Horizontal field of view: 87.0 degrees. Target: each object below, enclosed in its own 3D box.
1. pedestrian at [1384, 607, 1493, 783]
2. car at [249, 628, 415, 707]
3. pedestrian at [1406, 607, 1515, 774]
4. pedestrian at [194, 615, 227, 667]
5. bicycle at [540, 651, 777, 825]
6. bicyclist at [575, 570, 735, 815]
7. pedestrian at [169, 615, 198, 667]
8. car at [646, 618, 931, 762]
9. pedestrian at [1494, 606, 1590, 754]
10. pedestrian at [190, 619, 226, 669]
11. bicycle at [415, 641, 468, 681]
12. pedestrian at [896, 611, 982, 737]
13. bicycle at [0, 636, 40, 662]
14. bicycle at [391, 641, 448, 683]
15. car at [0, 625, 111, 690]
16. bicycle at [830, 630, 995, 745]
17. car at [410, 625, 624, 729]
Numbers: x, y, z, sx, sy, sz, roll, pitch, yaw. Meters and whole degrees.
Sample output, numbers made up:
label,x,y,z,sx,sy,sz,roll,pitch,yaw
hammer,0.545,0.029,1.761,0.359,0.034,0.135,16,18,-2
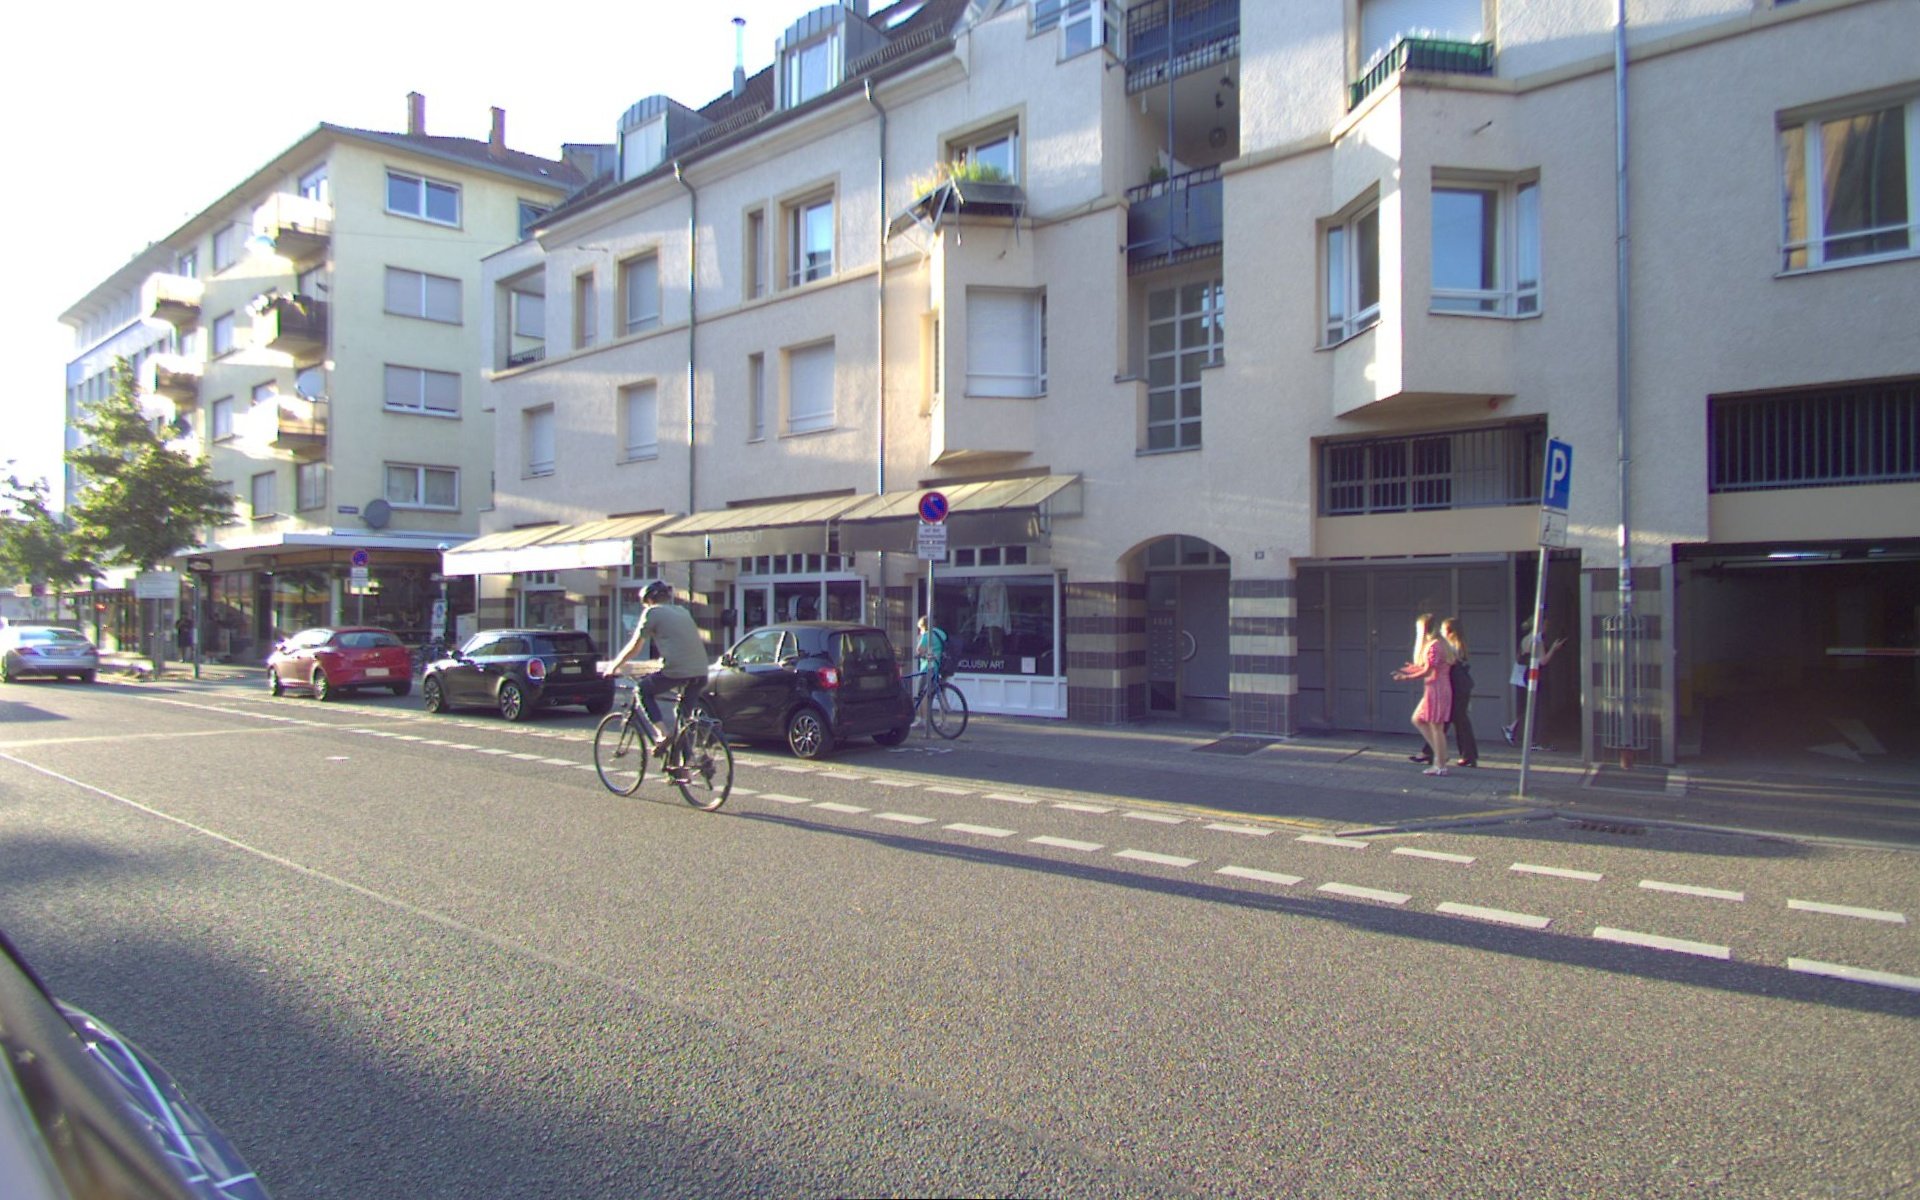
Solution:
label,x,y,z,sx,sy,sz,roll,pitch,yaw
pedestrian,4.762,0.900,10.067,0.853,1.654,0.710,-1,0,36
car,-13.099,1.334,21.039,3.877,1.413,1.645,-1,0,37
pedestrian,5.253,0.906,10.622,0.855,1.654,0.709,-1,0,42
pedestrian,-26.817,1.459,36.205,0.812,1.833,0.733,-2,-3,39
bicycle,-2.496,1.048,8.280,2.016,1.213,0.774,-1,-2,35
bicyclist,-2.487,0.712,8.263,1.005,1.843,0.774,-1,-2,35
pedestrian,-28.135,1.486,36.670,0.758,1.862,0.744,1,-3,-43
car,-2.164,1.015,12.604,3.181,1.547,1.777,-1,-2,35
pedestrian,6.786,0.895,11.806,0.854,1.628,0.709,-1,0,40
pedestrian,-26.122,1.512,35.159,0.757,1.689,0.744,0,-1,-10
bicycle,-13.905,1.612,27.101,2.013,0.999,0.485,-1,0,39
pedestrian,-0.288,0.990,14.009,0.949,1.654,0.710,-1,0,35
bicycle,-38.395,1.977,40.693,0.490,0.999,1.993,-1,0,33
bicycle,-14.278,1.619,26.700,2.011,0.999,0.485,-1,0,36
car,-23.959,1.451,26.242,4.502,1.523,1.975,-1,-4,38
bicycle,-0.672,1.122,13.557,2.354,1.385,0.605,-1,0,37
car,-7.421,1.192,16.849,3.719,1.464,1.695,-1,0,38
